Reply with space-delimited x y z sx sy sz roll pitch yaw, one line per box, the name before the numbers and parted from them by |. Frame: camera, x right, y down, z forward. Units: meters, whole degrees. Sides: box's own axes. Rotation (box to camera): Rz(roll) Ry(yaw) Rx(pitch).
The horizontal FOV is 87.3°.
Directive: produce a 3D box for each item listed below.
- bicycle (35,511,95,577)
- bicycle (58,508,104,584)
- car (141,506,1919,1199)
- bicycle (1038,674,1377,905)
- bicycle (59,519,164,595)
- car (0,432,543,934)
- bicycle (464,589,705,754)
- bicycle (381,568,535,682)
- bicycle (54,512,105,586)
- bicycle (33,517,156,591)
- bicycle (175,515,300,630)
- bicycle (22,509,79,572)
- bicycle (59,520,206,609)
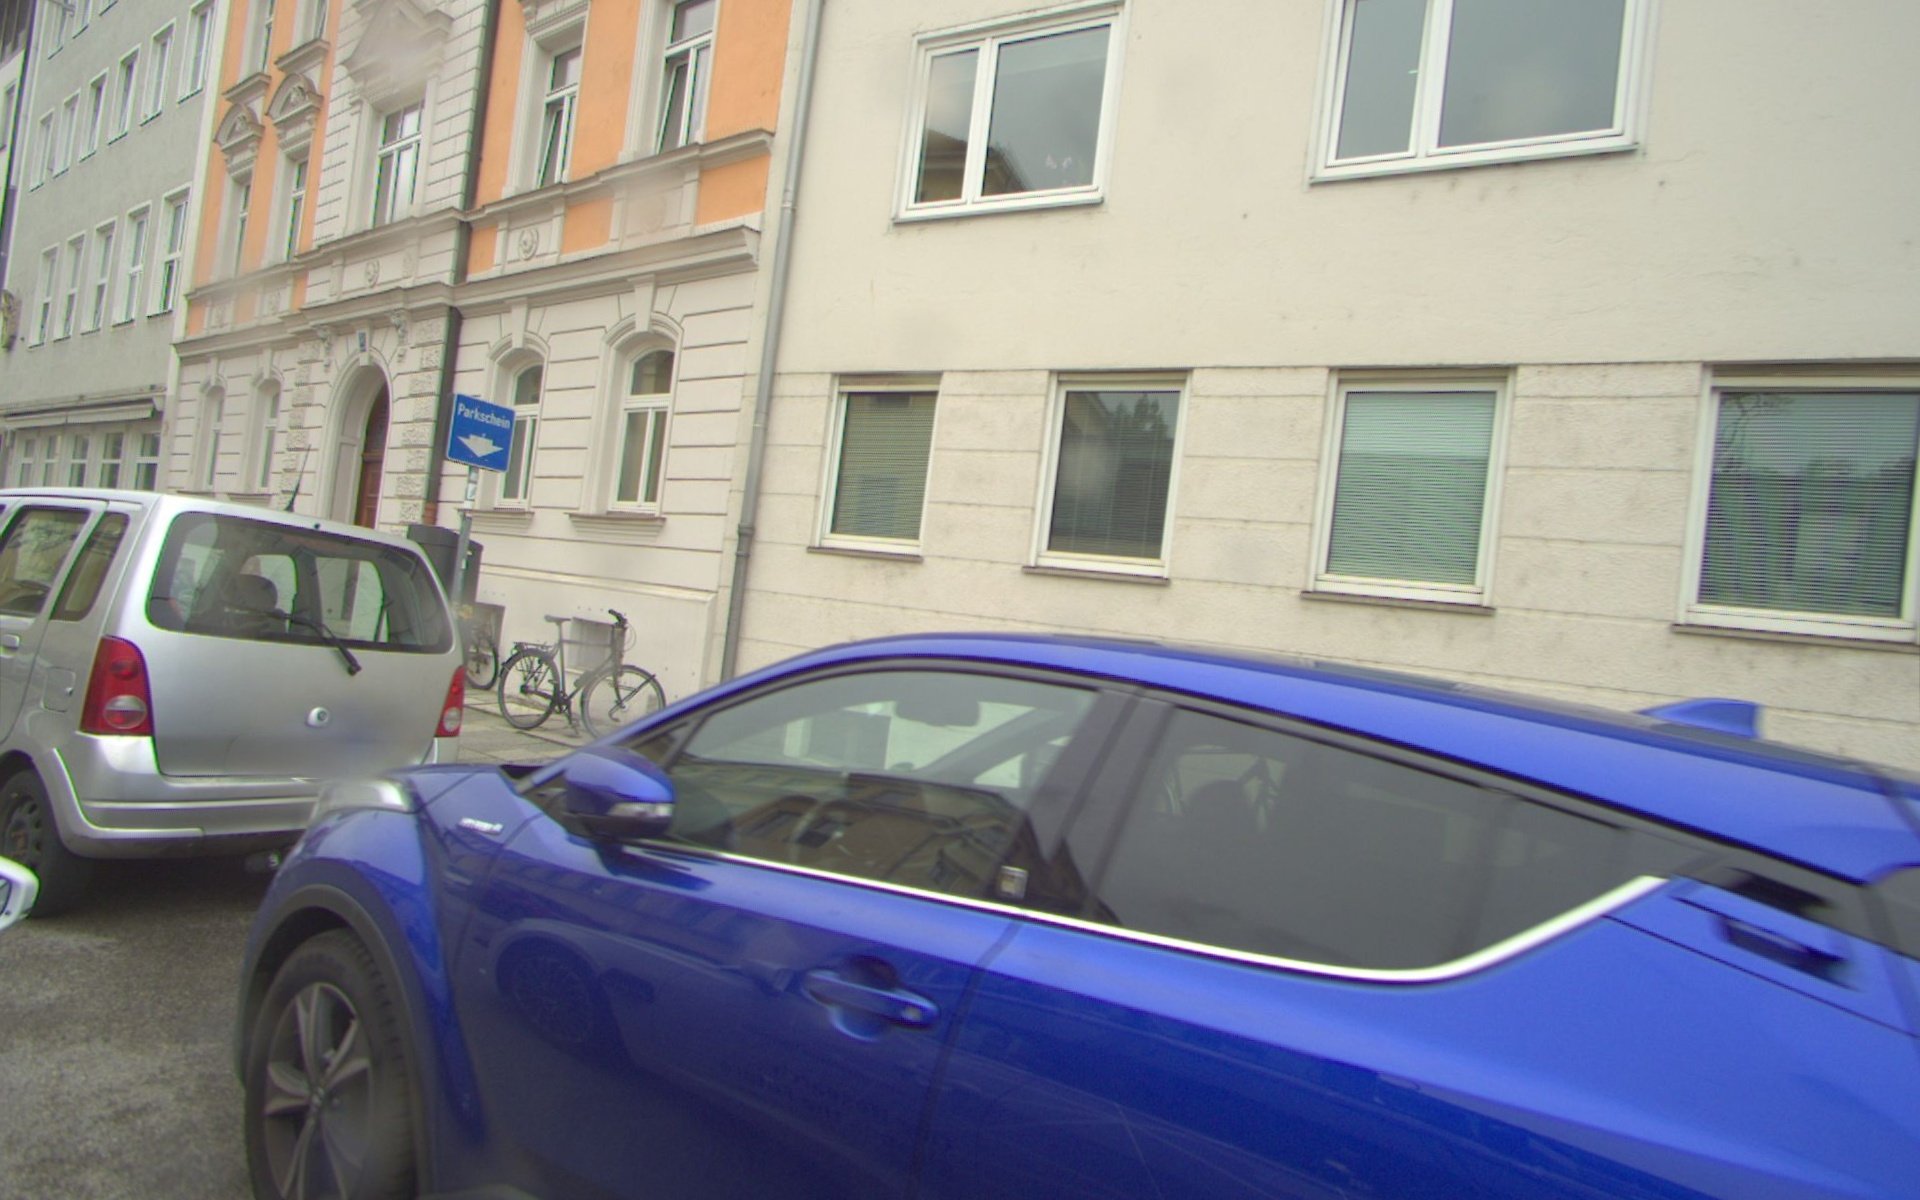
bicycle | -17.936 -1.135 20.145 1.787 1.190 0.396 6 -1 35
bicycle | -15.675 -0.967 17.939 0.901 1.271 0.248 7 0 30
car | 0.143 0.779 2.200 4.476 1.512 1.744 6 -2 35
bicycle | 1.573 1.153 6.515 1.964 1.084 0.530 7 0 25
bicycle | -13.722 -0.681 16.321 0.613 1.103 1.806 7 0 -20
car | -4.184 0.195 5.039 3.738 1.692 1.687 7 -3 27
bicycle | -3.285 0.593 8.761 1.960 1.125 0.724 7 -1 27
bicycle | -5.585 0.267 11.165 1.787 1.036 0.596 7 0 32
bicycle | -16.303 -0.950 18.614 1.213 1.271 0.248 7 0 30
bicycle | -14.236 -0.721 16.608 0.507 1.080 1.846 7 -1 -7
bicycle | -10.233 -0.401 14.216 2.057 1.402 0.596 7 0 32
bicycle | -19.407 -1.281 21.458 1.919 1.172 0.384 7 0 35
bicycle | -12.072 -0.492 14.774 0.574 1.153 2.089 7 0 -8
